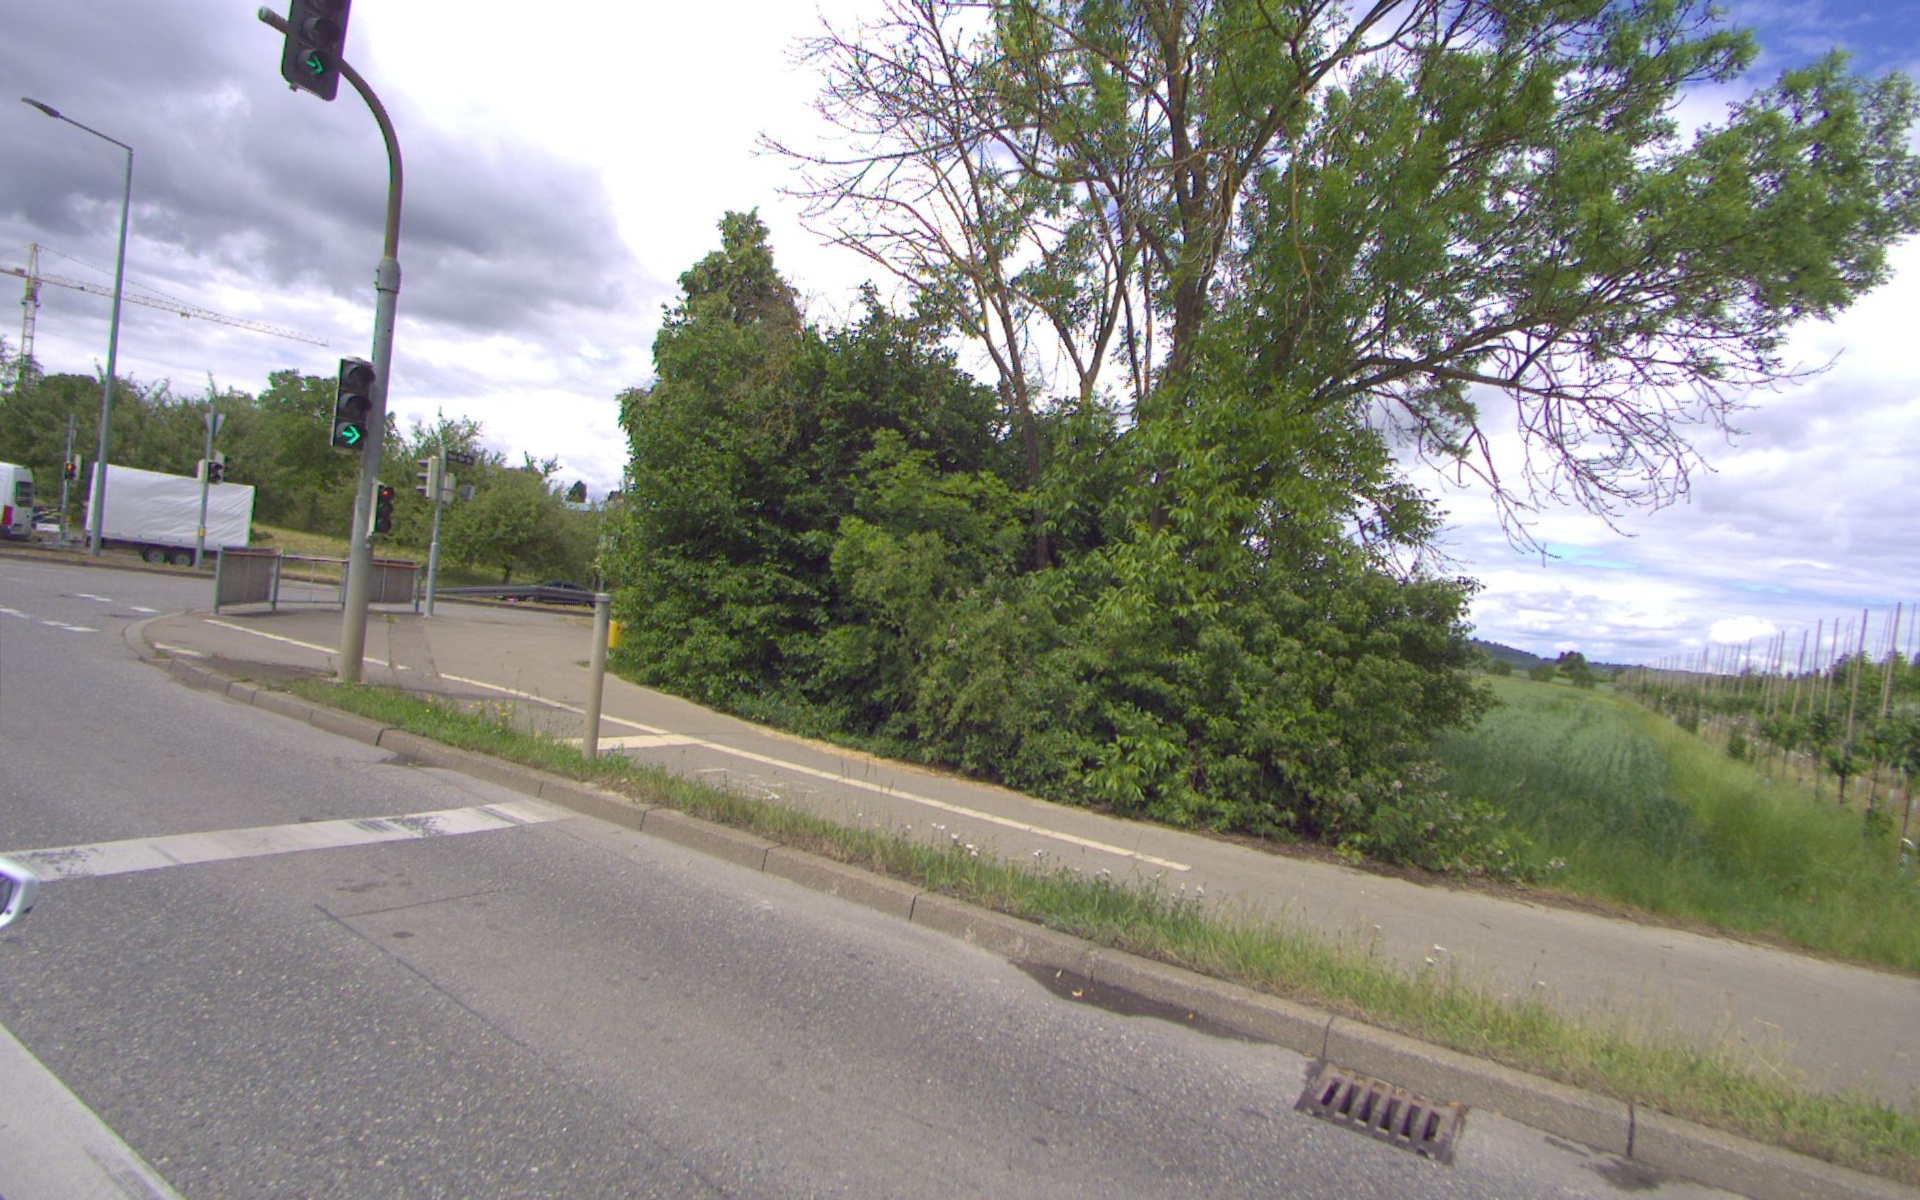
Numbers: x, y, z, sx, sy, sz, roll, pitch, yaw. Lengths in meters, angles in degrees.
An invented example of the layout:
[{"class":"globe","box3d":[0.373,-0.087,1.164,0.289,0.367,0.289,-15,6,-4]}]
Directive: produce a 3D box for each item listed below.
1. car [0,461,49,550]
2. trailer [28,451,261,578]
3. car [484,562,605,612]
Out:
[{"class":"car","box3d":[-31.451,-3.234,30.007,5.773,2.547,2.118,9,-2,-30]},{"class":"trailer","box3d":[-26.859,-2.711,33.293,5.554,3.108,2.469,9,-2,-43]},{"class":"car","box3d":[-18.137,-0.546,44.149,1.968,1.585,4.460,7,0,34]}]
